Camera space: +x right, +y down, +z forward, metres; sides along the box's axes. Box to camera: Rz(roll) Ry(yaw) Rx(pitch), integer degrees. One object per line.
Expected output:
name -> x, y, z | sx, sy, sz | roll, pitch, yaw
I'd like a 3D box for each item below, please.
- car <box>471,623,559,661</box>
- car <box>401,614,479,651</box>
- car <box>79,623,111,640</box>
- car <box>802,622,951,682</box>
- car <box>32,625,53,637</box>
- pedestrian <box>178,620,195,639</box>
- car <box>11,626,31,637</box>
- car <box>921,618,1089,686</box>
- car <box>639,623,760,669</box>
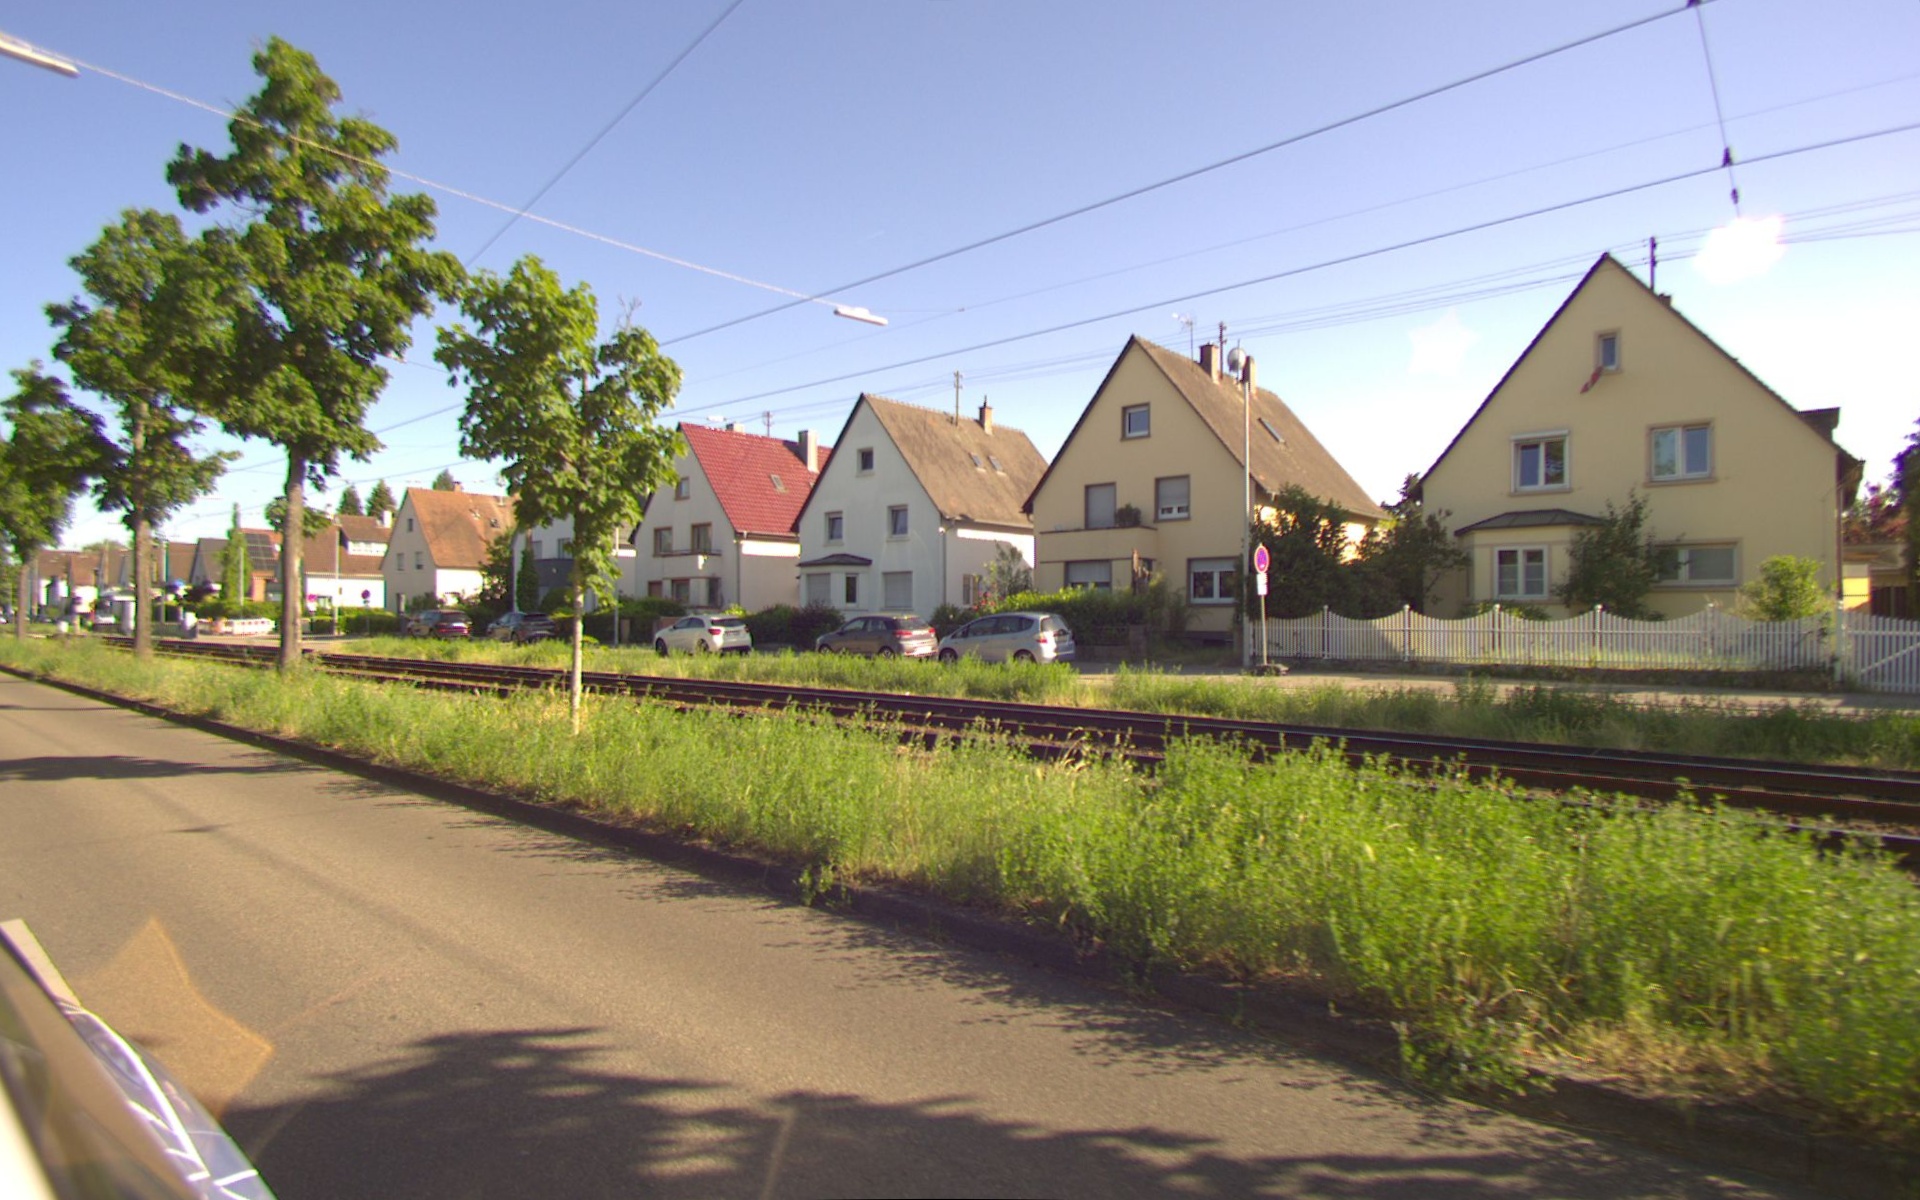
car -> -19.612, 1.814, 44.562 | 4.254, 1.506, 1.906 | -1, 0, 41
car -> -25.945, 1.586, 50.463 | 4.388, 1.726, 1.973 | -1, 0, 41
car -> -93.506, 3.362, 109.421 | 4.837, 1.691, 1.973 | -1, 0, 41
car -> -2.465, 1.441, 29.326 | 4.126, 1.460, 1.973 | -1, 2, 41
car -> -122.672, 4.161, 135.319 | 3.754, 1.501, 1.716 | -1, 0, 41
pedestrian -> -61.867, 2.369, 80.973 | 0.790, 1.546, 0.806 | -3, -2, 27
car -> -135.543, 4.519, 146.088 | 3.822, 1.392, 1.733 | -1, 0, 41
car -> 1.112, 1.284, 26.238 | 4.054, 1.565, 1.926 | -1, 0, 41
car -> -9.153, 1.551, 35.428 | 4.409, 1.437, 1.972 | -1, 0, 42
